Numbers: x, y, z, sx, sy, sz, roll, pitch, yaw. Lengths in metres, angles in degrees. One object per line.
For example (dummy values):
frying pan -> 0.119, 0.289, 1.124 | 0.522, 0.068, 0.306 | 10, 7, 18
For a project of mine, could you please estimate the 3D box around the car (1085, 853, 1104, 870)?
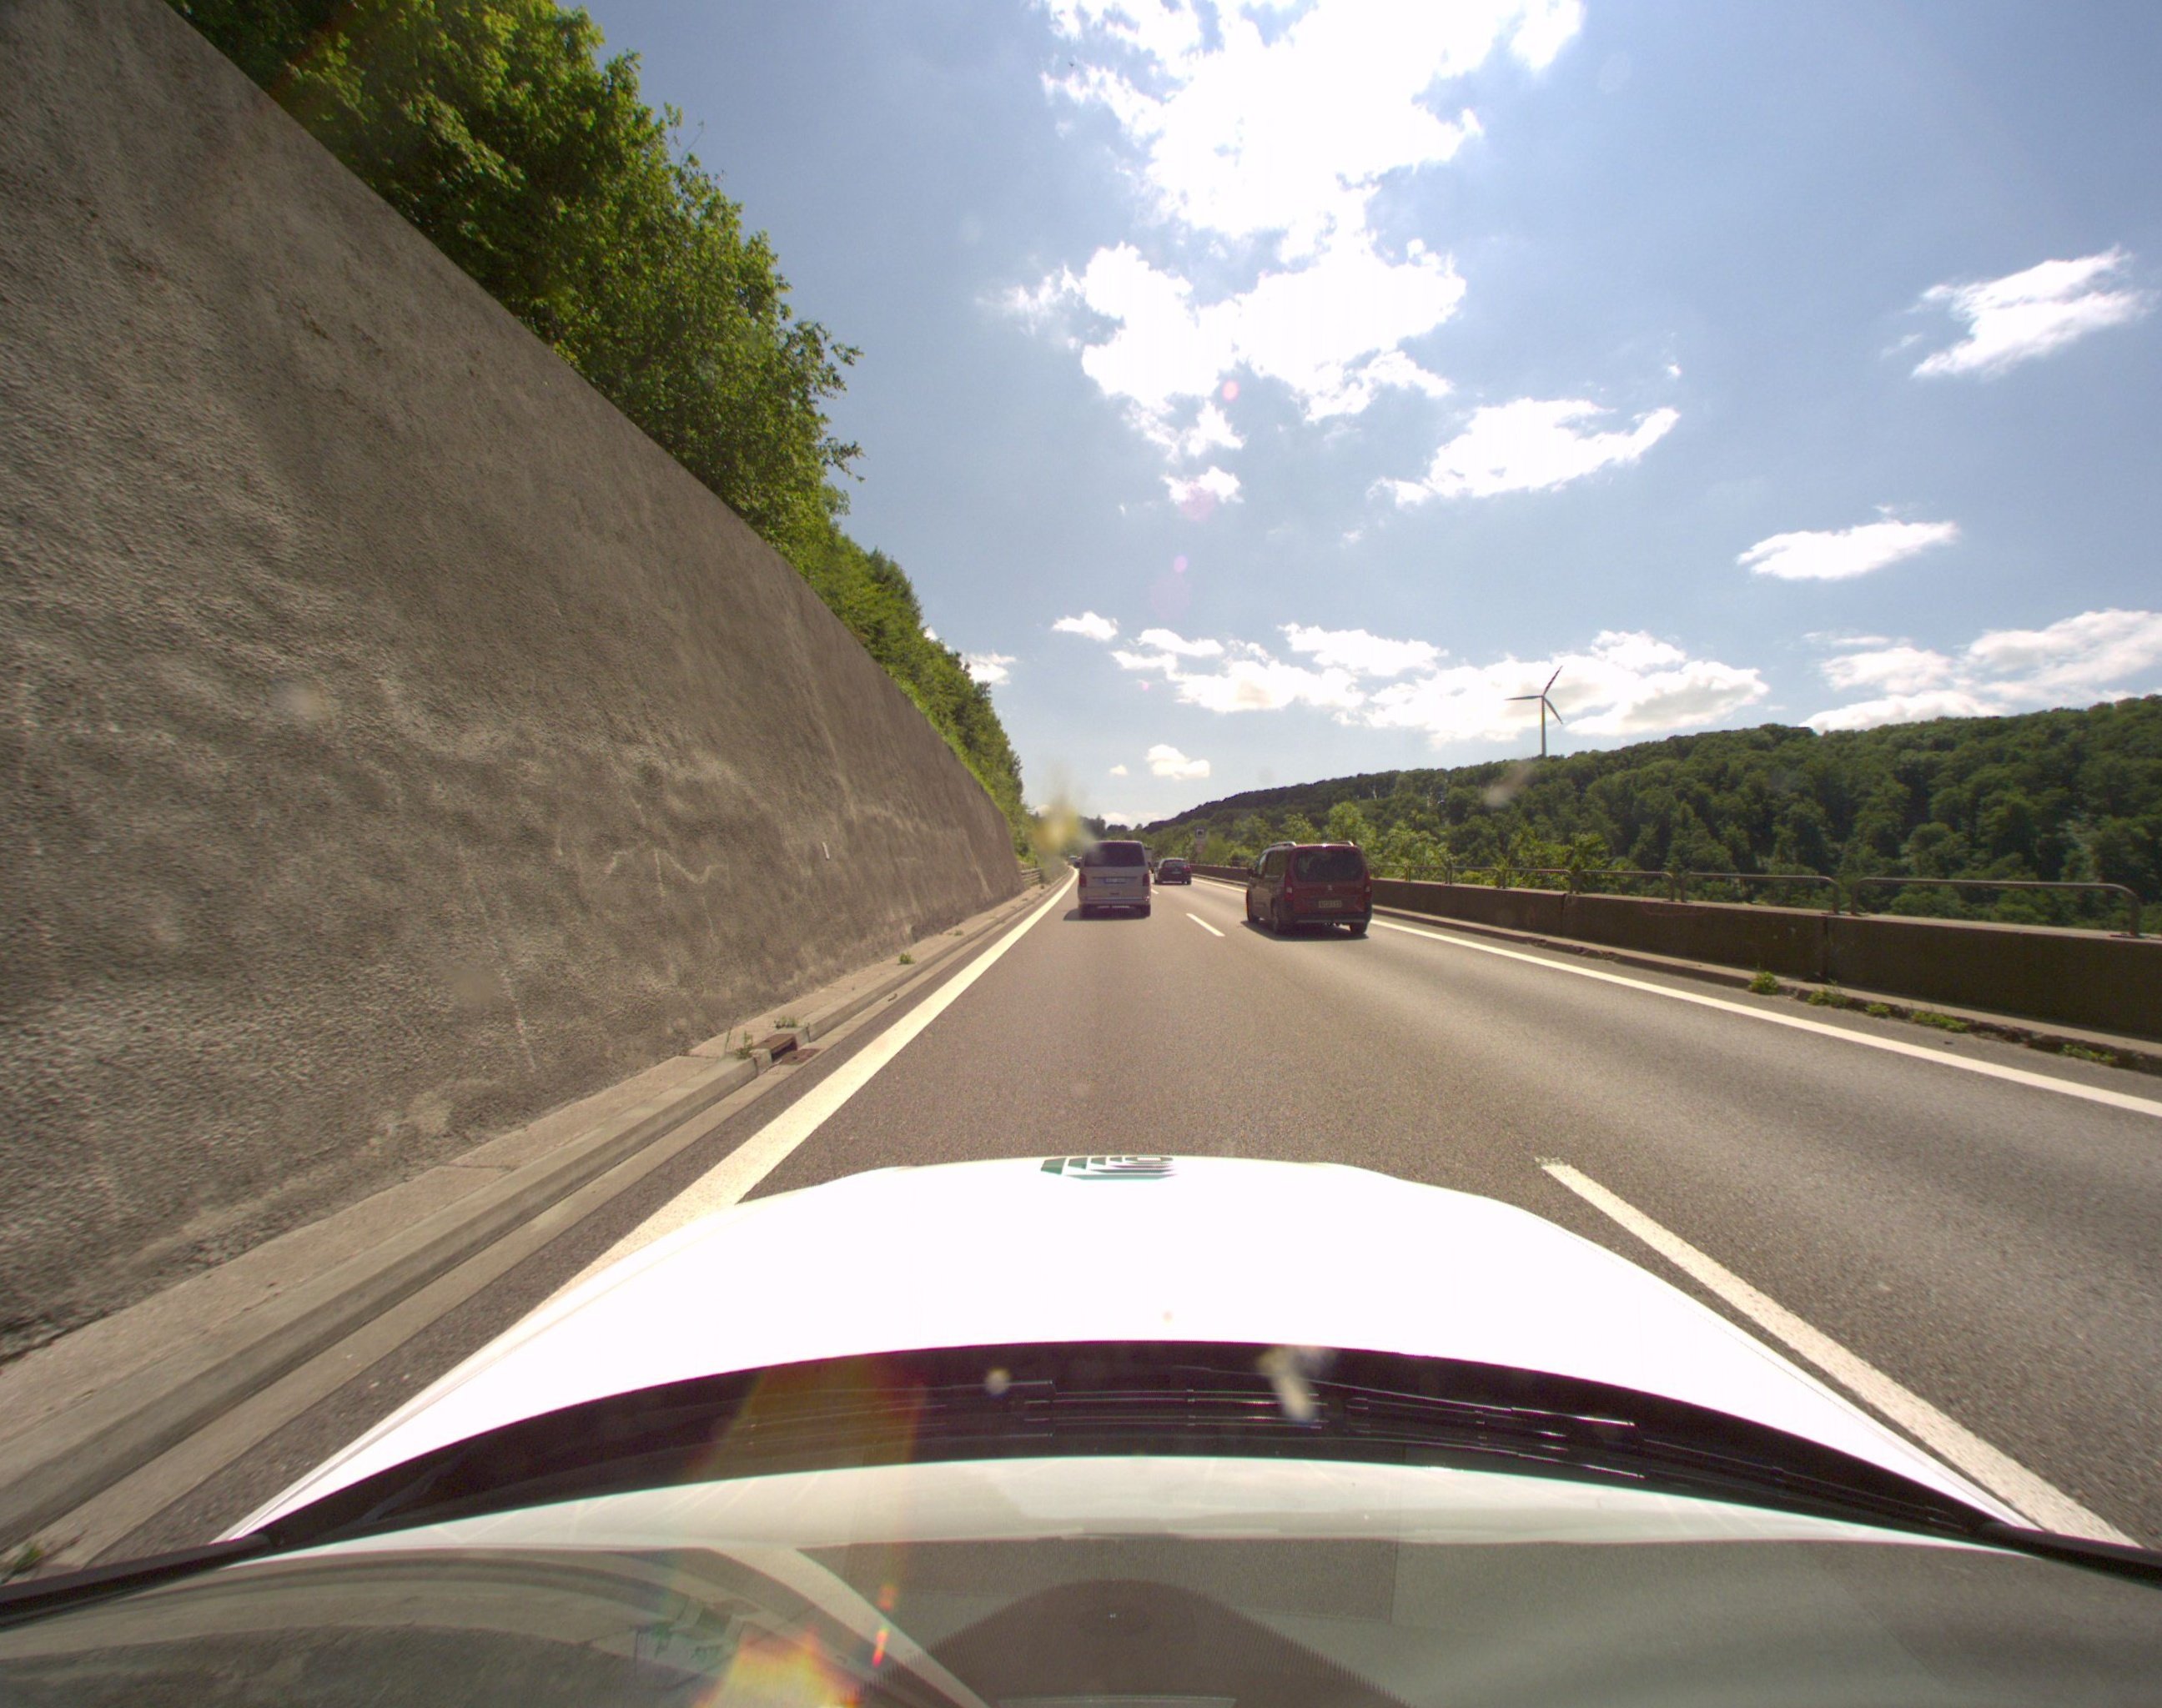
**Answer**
car -> 1.468, 0.830, 91.129 | 1.987, 1.817, 3.999 | 0, 0, -1

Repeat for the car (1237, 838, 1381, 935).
car -> 4.723, 0.630, 17.580 | 1.827, 1.784, 4.676 | -1, -1, 1

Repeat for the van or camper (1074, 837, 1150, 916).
van or camper -> 0.845, 0.569, 22.260 | 1.868, 1.949, 4.296 | 0, 0, 2

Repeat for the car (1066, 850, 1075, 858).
car -> -2.777, 0.060, 214.101 | 1.989, 2.013, 3.996 | 0, 0, -3

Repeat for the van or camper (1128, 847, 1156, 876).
van or camper -> 5.581, 0.684, 74.935 | 2.256, 2.551, 4.737 | -2, 0, 1

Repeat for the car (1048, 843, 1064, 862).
car -> -6.596, -0.399, 211.814 | 4.035, 4.871, 10.097 | 0, 0, -3

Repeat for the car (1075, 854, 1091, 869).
car -> 0.241, 1.007, 110.594 | 1.989, 1.915, 3.995 | 0, 0, -4

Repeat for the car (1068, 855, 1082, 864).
car -> -1.078, 0.986, 144.101 | 2.138, 1.607, 5.071 | -2, -1, -3

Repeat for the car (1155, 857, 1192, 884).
car -> 5.070, 0.887, 45.055 | 1.762, 1.376, 3.594 | 0, 0, 2

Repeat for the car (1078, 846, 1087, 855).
car -> 0.362, -0.890, 198.929 | 1.991, 2.013, 3.992 | 0, 0, -6
